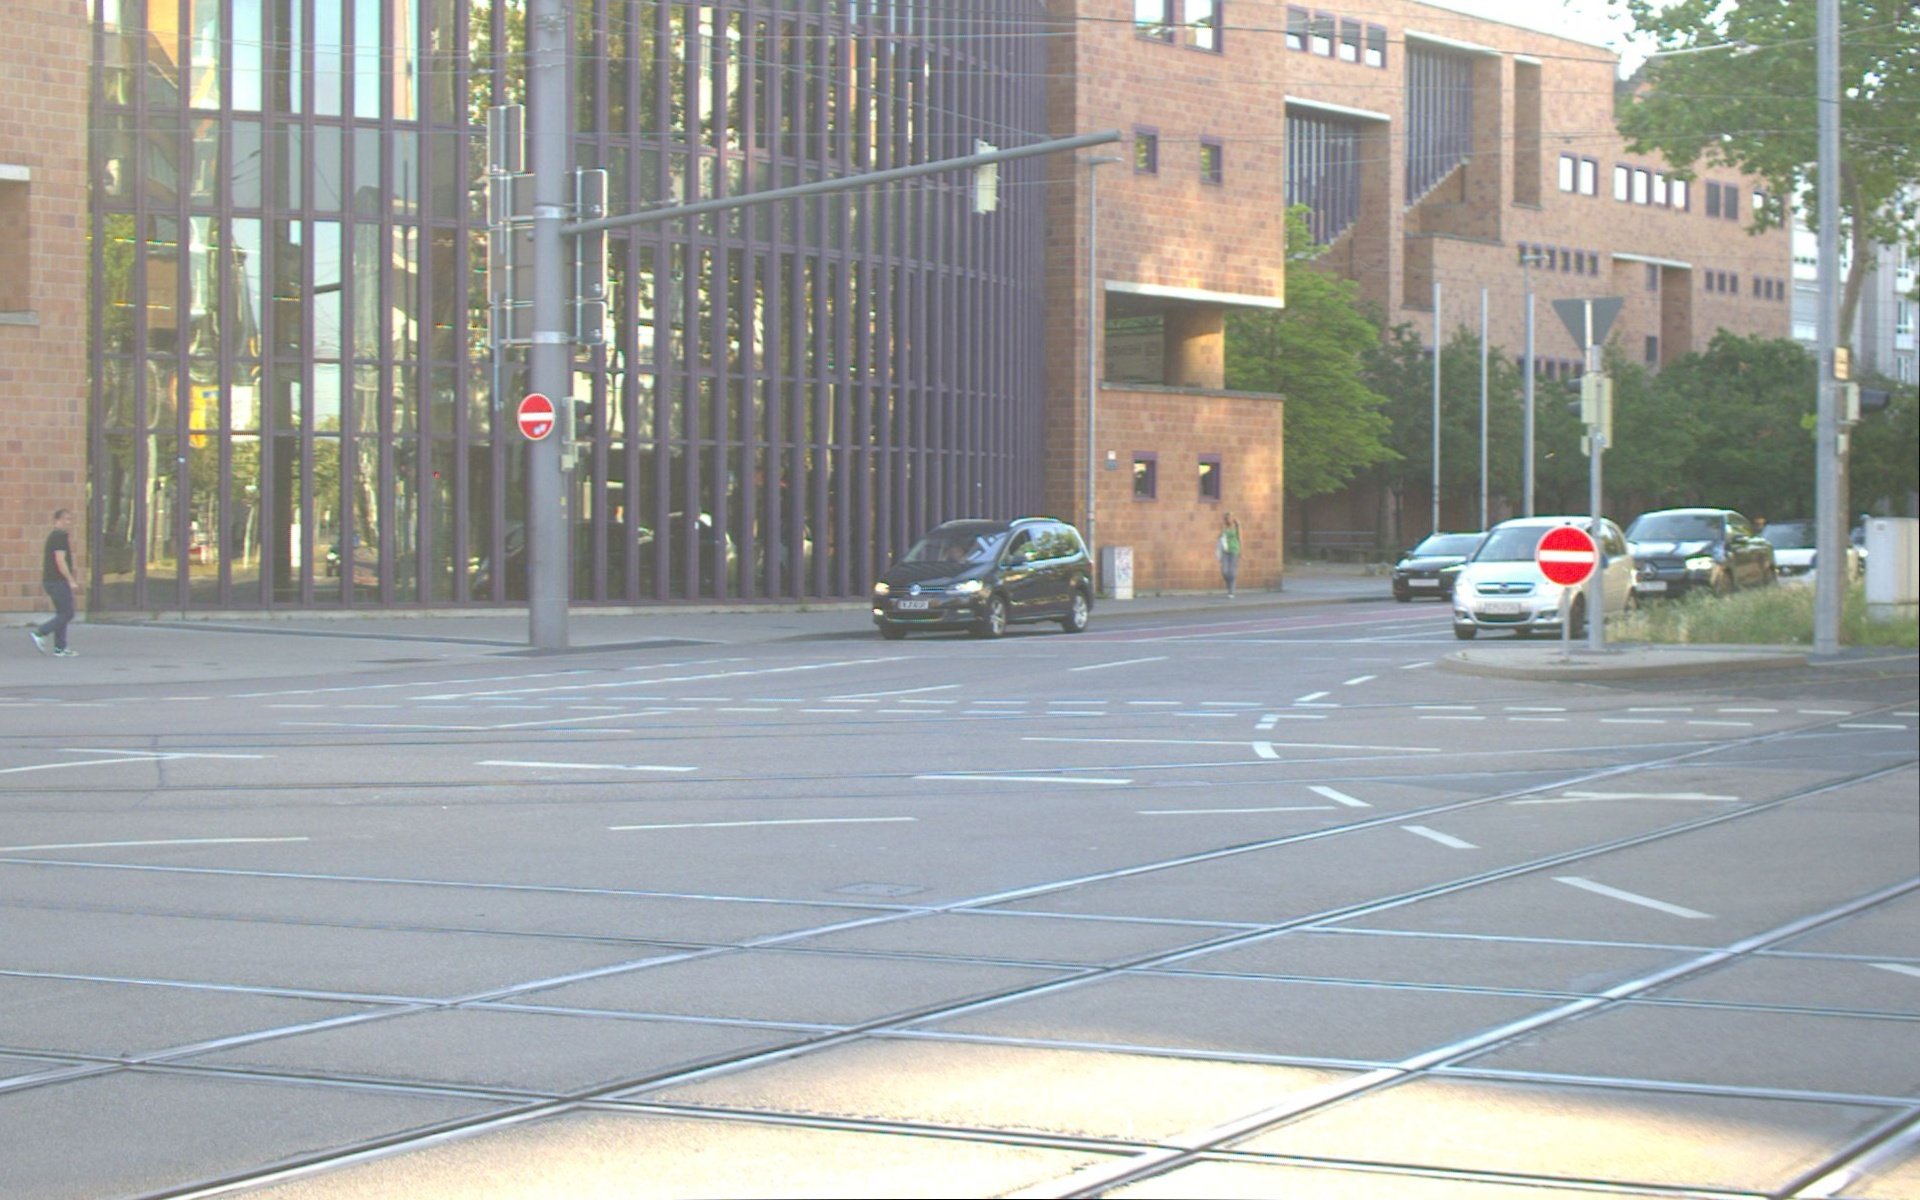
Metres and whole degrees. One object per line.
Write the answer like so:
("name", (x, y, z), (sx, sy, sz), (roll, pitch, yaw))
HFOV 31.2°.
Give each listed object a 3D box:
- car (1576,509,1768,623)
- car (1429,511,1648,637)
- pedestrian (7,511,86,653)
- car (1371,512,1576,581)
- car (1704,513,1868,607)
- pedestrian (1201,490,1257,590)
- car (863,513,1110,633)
("car", (11.010, -0.559, 52.966), (1.856, 1.645, 4.319), (0, 2, 27))
("car", (7.840, -0.391, 46.292), (1.732, 1.591, 4.319), (0, 2, 27))
("pedestrian", (-11.137, -0.230, 41.918), (0.821, 1.710, 0.664), (-1, 2, -23))
("car", (10.586, -1.118, 70.819), (3.988, 1.371, 1.922), (-1, 2, -36))
("car", (14.497, -0.726, 60.185), (1.856, 1.546, 4.319), (0, 2, 27))
("pedestrian", (5.449, -1.222, 69.679), (0.755, 2.006, 0.899), (-1, 2, -30))
("car", (0.447, -0.426, 50.613), (1.836, 1.648, 4.494), (0, 2, 27))
